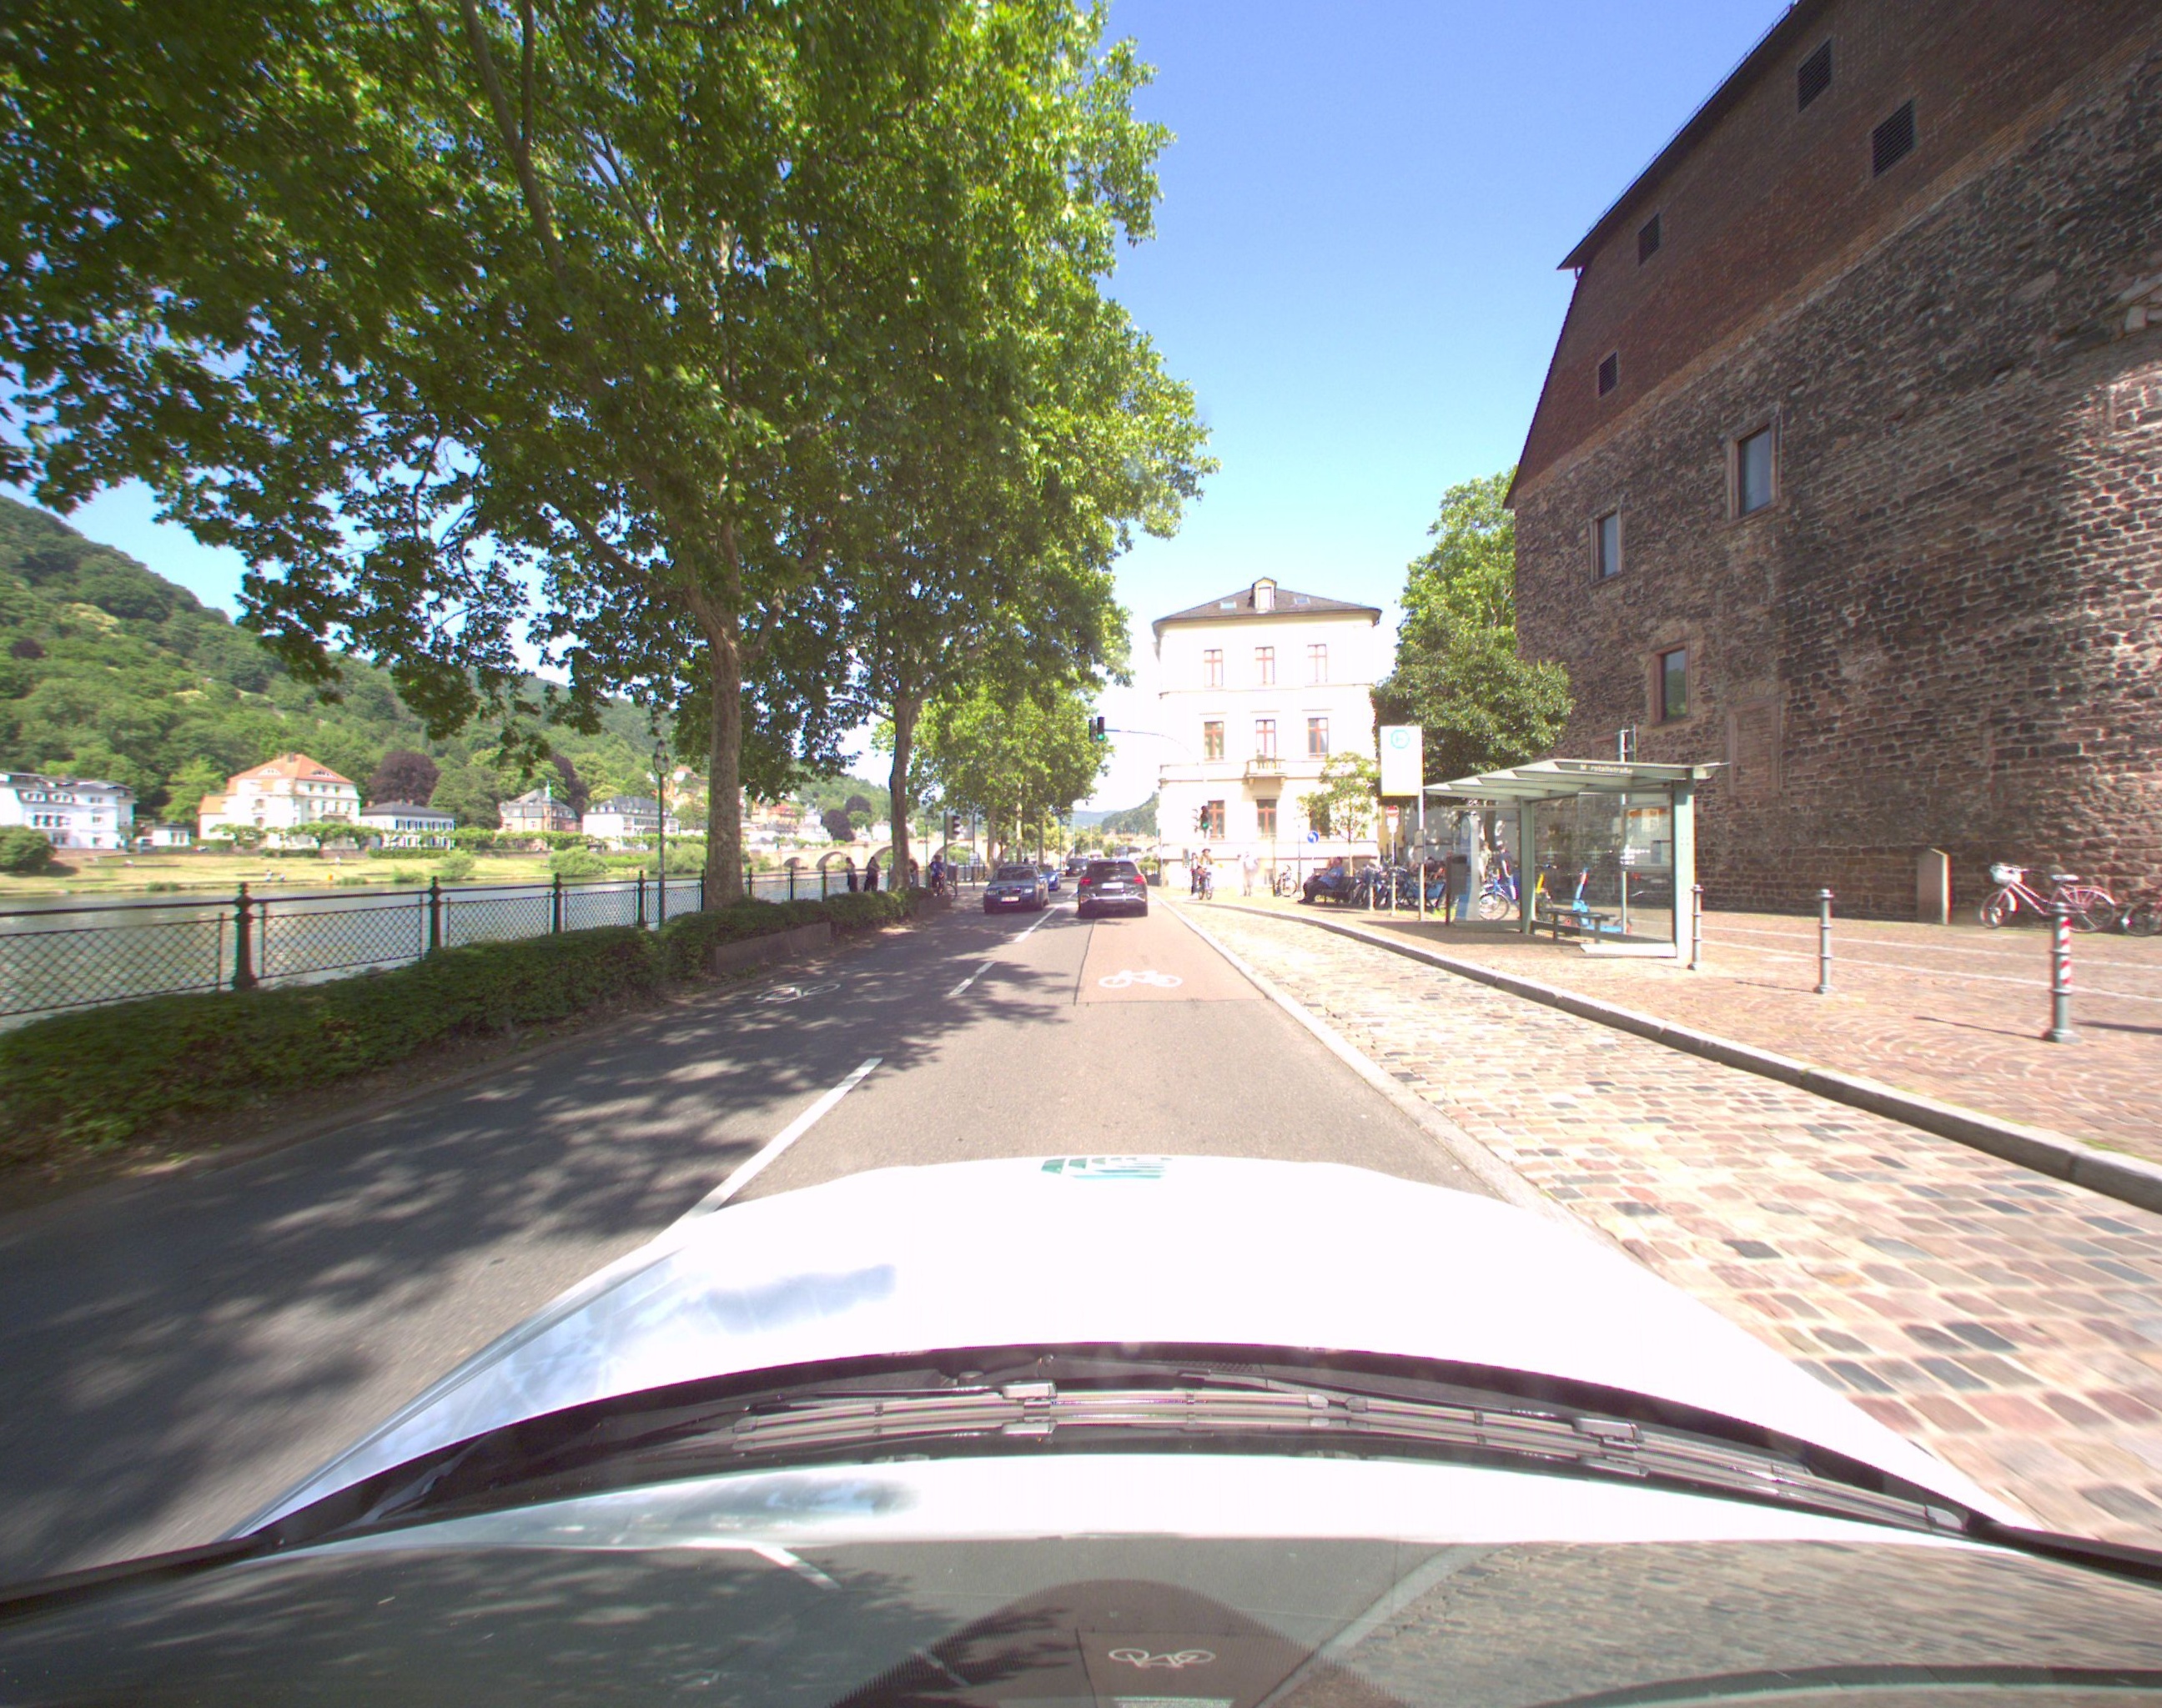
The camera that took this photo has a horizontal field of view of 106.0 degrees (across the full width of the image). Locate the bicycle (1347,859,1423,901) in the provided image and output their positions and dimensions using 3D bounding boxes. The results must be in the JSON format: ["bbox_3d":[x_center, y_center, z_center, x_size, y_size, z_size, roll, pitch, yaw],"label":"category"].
[{"bbox_3d":[9.039,0.770,24.234,2.072,1.198,0.527,1,0,0],"label":"bicycle"}]

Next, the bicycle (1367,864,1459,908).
[{"bbox_3d":[8.507,0.805,20.921,2.017,1.066,0.801,1,0,0],"label":"bicycle"}]

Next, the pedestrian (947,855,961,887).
[{"bbox_3d":[-6.428,0.843,41.280,0.492,1.617,0.992,0,-1,2],"label":"pedestrian"}]

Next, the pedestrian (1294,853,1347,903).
[{"bbox_3d":[6.474,0.638,22.063,1.243,1.308,0.693,0,-1,0],"label":"pedestrian"}]

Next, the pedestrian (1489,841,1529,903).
[{"bbox_3d":[13.619,0.568,25.925,0.806,1.942,0.784,0,-1,-24],"label":"pedestrian"}]

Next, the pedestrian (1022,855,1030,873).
[{"bbox_3d":[-5.092,0.931,75.644,0.654,1.682,0.759,2,-1,1],"label":"pedestrian"}]

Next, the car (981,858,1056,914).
[{"bbox_3d":[-1.880,0.936,25.776,1.694,1.518,4.409,-4,-1,4],"label":"car"}]

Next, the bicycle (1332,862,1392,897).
[{"bbox_3d":[9.177,0.832,26.621,1.786,1.110,0.563,1,0,0],"label":"bicycle"}]

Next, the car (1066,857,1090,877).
[{"bbox_3d":[-0.204,1.048,67.883,1.694,1.518,4.409,-3,-1,4],"label":"car"}]

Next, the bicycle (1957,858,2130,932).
[{"bbox_3d":[16.355,0.658,13.921,0.525,1.161,1.922,0,-1,-7],"label":"bicycle"}]

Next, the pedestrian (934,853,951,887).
[{"bbox_3d":[-7.285,0.845,42.837,0.708,1.764,0.972,0,-1,2],"label":"pedestrian"}]

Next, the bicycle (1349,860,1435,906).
[{"bbox_3d":[8.571,0.796,22.522,2.072,1.198,0.776,1,0,0],"label":"bicycle"}]

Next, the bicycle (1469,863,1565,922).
[{"bbox_3d":[8.929,0.758,16.733,0.549,1.131,1.722,0,-1,-27],"label":"bicycle"}]

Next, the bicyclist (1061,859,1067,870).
[{"bbox_3d":[-2.290,1.404,109.248,0.716,1.583,1.090,0,-1,4],"label":"bicyclist"}]

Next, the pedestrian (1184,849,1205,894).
[{"bbox_3d":[4.274,0.670,30.778,0.712,1.675,0.682,0,-1,1],"label":"pedestrian"}]

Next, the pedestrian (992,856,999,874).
[{"bbox_3d":[-9.327,1.248,88.629,0.691,1.945,0.887,0,-1,1],"label":"pedestrian"}]

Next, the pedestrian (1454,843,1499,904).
[{"bbox_3d":[11.560,0.567,23.839,0.803,1.753,0.905,0,-1,-12],"label":"pedestrian"}]

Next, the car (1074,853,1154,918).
[{"bbox_3d":[0.879,0.771,22.254,1.919,1.553,4.833,-1,0,1],"label":"car"}]

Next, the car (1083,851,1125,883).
[{"bbox_3d":[1.135,0.625,40.050,1.919,1.461,4.834,0,0,2],"label":"car"}]

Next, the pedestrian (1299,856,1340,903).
[{"bbox_3d":[6.651,0.695,22.740,0.957,1.282,0.694,0,-1,0],"label":"pedestrian"}]

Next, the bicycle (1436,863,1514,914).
[{"bbox_3d":[9.478,0.832,19.629,1.539,1.198,0.727,0,-1,8],"label":"bicycle"}]

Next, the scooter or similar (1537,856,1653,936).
[{"bbox_3d":[8.215,0.662,13.049,1.425,1.215,0.652,1,-1,1],"label":"scooter or similar"}]

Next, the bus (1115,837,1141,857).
[{"bbox_3d":[9.047,-1.291,155.710,2.612,3.564,13.030,-1,-1,14],"label":"bus"}]

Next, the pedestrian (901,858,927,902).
[{"bbox_3d":[-6.621,1.034,32.252,0.832,1.713,0.783,0,-1,1],"label":"pedestrian"}]

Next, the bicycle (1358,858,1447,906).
[{"bbox_3d":[8.552,0.739,21.738,2.072,1.198,0.776,1,0,0],"label":"bicycle"}]

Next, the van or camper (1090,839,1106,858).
[{"bbox_3d":[2.468,-0.752,117.061,2.078,2.557,7.098,0,0,3],"label":"van or camper"}]

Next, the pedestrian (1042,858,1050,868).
[{"bbox_3d":[-4.762,1.197,111.172,0.930,1.281,0.852,-1,-1,11],"label":"pedestrian"}]

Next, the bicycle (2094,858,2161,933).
[{"bbox_3d":[17.070,0.641,12.452,0.549,1.153,1.909,0,-1,-28],"label":"bicycle"}]

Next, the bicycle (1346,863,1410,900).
[{"bbox_3d":[9.283,0.865,25.492,1.786,1.110,0.608,1,0,0],"label":"bicycle"}]

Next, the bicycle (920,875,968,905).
[{"bbox_3d":[-5.043,1.293,29.931,1.808,0.925,0.747,5,2,42],"label":"bicycle"}]

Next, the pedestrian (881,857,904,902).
[{"bbox_3d":[-7.438,0.998,32.209,0.650,1.713,0.793,-2,0,1],"label":"pedestrian"}]

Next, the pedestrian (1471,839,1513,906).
[{"bbox_3d":[12.425,0.552,24.614,0.655,1.960,0.935,0,-1,-15],"label":"pedestrian"}]

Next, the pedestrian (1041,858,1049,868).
[{"bbox_3d":[-4.856,1.190,110.250,0.930,1.281,0.852,-1,-1,11],"label":"pedestrian"}]

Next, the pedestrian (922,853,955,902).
[{"bbox_3d":[-5.268,0.860,30.100,1.012,1.773,0.774,-1,-1,42],"label":"pedestrian"}]

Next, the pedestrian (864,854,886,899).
[{"bbox_3d":[-7.750,0.839,30.597,0.616,1.700,0.696,0,-1,1],"label":"pedestrian"}]

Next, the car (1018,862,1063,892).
[{"bbox_3d":[-1.925,1.103,40.172,1.834,1.269,4.263,-4,-1,1],"label":"car"}]

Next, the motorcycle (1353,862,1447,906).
[{"bbox_3d":[8.489,0.786,21.738,2.197,1.104,0.776,1,0,0],"label":"motorcycle"}]

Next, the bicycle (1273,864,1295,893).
[{"bbox_3d":[7.341,0.913,29.440,0.505,1.004,1.581,0,-3,4],"label":"bicycle"}]

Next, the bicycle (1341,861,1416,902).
[{"bbox_3d":[9.052,0.826,24.836,2.072,1.198,0.608,1,0,0],"label":"bicycle"}]

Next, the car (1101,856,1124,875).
[{"bbox_3d":[2.812,0.990,71.862,1.918,1.553,4.836,-1,0,3],"label":"car"}]

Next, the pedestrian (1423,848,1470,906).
[{"bbox_3d":[11.485,0.716,25.595,0.989,1.765,0.921,0,-1,-18],"label":"pedestrian"}]

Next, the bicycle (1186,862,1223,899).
[{"bbox_3d":[3.918,0.841,25.913,0.688,1.129,2.005,0,-1,-6],"label":"bicycle"}]

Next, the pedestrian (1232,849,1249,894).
[{"bbox_3d":[6.132,0.667,31.310,0.525,1.712,0.666,0,-1,1],"label":"pedestrian"}]

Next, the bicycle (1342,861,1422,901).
[{"bbox_3d":[8.581,0.775,23.242,2.072,1.085,0.604,1,0,0],"label":"bicycle"}]

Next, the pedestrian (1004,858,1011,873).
[{"bbox_3d":[-8.417,1.316,93.077,0.689,1.616,0.665,-1,-1,10],"label":"pedestrian"}]

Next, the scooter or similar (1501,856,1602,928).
[{"bbox_3d":[8.368,0.667,14.522,1.425,1.215,0.652,1,-1,1],"label":"scooter or similar"}]

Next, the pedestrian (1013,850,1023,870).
[{"bbox_3d":[-5.129,0.512,66.206,0.759,1.586,0.696,0,-1,1],"label":"pedestrian"}]

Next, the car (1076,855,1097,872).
[{"bbox_3d":[0.472,0.938,80.881,1.732,1.517,4.399,-1,2,-4],"label":"car"}]

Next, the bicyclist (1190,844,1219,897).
[{"bbox_3d":[3.921,0.514,25.895,0.708,1.628,0.885,0,-1,-5],"label":"bicyclist"}]

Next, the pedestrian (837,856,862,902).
[{"bbox_3d":[-8.266,0.873,29.098,0.547,1.608,0.911,2,-1,2],"label":"pedestrian"}]

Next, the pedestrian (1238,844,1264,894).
[{"bbox_3d":[6.426,0.571,30.713,0.621,1.852,0.721,0,-1,-43],"label":"pedestrian"}]

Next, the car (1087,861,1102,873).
[{"bbox_3d":[1.751,1.587,102.337,1.694,1.458,4.004,-1,-1,3],"label":"car"}]
